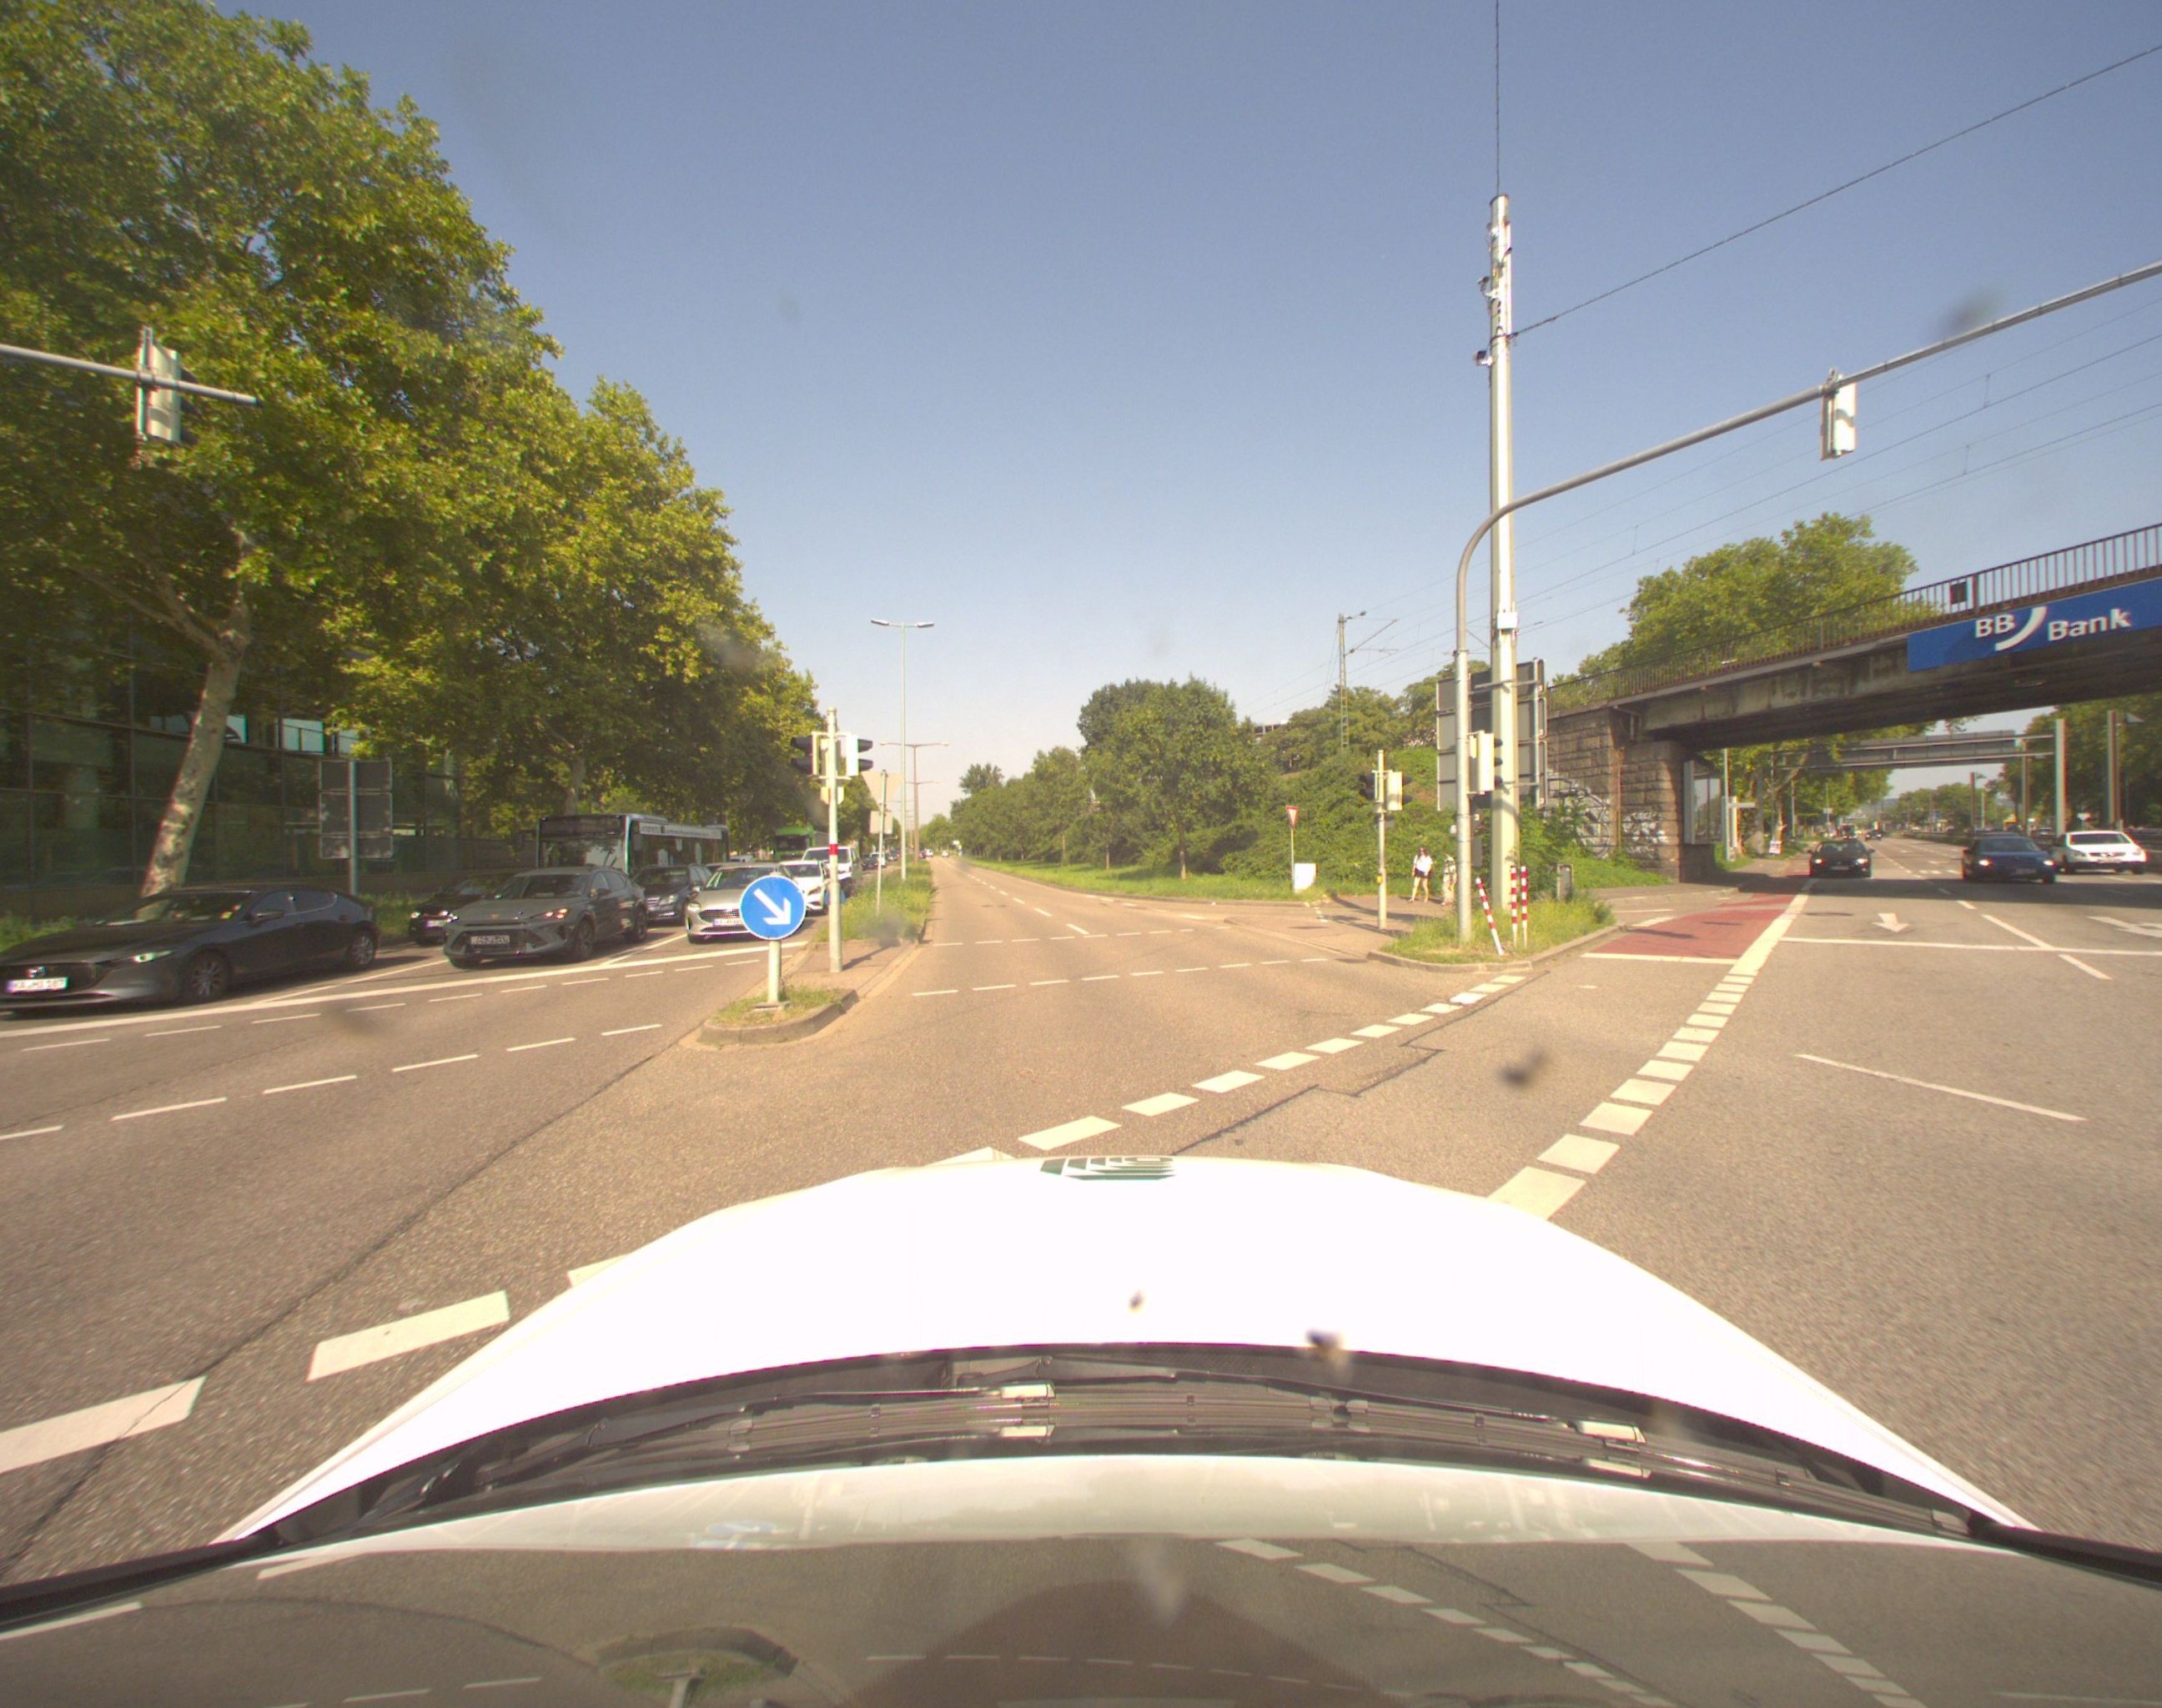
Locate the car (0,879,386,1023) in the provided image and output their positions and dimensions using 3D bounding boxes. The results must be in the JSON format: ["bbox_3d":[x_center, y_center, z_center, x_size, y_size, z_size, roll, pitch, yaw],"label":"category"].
[{"bbox_3d":[-11.623,1.121,10.880,1.710,1.353,4.143,-2,0,-12],"label":"car"}]

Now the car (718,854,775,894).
[{"bbox_3d":[-17.148,1.004,41.986,1.704,1.888,4.731,-3,0,-10],"label":"car"}]

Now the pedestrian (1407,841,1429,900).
[{"bbox_3d":[9.867,0.486,23.849,0.564,1.681,0.495,-1,2,21],"label":"pedestrian"}]

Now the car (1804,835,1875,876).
[{"bbox_3d":[30.432,0.021,32.628,4.218,1.533,1.848,-1,0,-44],"label":"car"}]

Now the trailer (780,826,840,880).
[{"bbox_3d":[-21.595,-0.012,65.721,2.634,3.821,13.759,-3,0,-11],"label":"trailer"}]

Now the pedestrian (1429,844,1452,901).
[{"bbox_3d":[10.174,0.517,23.050,0.566,1.567,0.539,-1,-1,21],"label":"pedestrian"}]

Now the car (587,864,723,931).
[{"bbox_3d":[-10.143,0.971,19.718,1.706,1.442,3.987,0,-1,-9],"label":"car"}]

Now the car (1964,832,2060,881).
[{"bbox_3d":[30.362,0.073,26.670,1.597,1.452,4.024,-3,-1,43],"label":"car"}]

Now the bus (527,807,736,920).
[{"bbox_3d":[-14.929,0.312,28.524,2.591,3.079,12.267,0,0,-10],"label":"bus"}]

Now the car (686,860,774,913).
[{"bbox_3d":[-10.983,0.974,25.761,1.707,1.467,3.807,-3,0,-11],"label":"car"}]

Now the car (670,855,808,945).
[{"bbox_3d":[-6.687,0.814,16.340,1.643,1.495,3.986,-2,1,-10],"label":"car"}]

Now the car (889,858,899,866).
[{"bbox_3d":[-36.156,1.536,157.216,1.748,1.479,4.566,-3,0,-13],"label":"car"}]

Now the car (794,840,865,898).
[{"bbox_3d":[-9.075,0.502,29.731,1.912,1.863,4.871,-2,0,-11],"label":"car"}]

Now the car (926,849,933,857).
[{"bbox_3d":[-38.649,-0.208,208.329,1.762,1.904,3.776,0,-1,-11],"label":"car"}]

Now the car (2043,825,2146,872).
[{"bbox_3d":[37.446,-0.227,30.191,4.241,1.618,1.986,-1,0,-44],"label":"car"}]

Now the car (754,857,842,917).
[{"bbox_3d":[-7.593,0.808,22.181,1.710,1.402,4.067,-1,1,-12],"label":"car"}]

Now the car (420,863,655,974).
[{"bbox_3d":[-9.044,0.955,14.039,1.856,1.504,4.247,-2,0,-12],"label":"car"}]

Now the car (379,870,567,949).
[{"bbox_3d":[-13.051,1.116,17.813,1.743,1.390,3.984,-1,0,-12],"label":"car"}]

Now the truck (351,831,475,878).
[{"bbox_3d":[-44.661,0.054,54.876,1.992,2.861,9.102,0,0,-8],"label":"truck"}]

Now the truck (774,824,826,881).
[{"bbox_3d":[-20.313,-0.087,59.120,2.609,3.819,5.868,-3,0,-11],"label":"truck"}]

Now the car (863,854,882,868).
[{"bbox_3d":[-22.491,0.793,87.782,1.614,1.398,3.844,-3,0,-10],"label":"car"}]
